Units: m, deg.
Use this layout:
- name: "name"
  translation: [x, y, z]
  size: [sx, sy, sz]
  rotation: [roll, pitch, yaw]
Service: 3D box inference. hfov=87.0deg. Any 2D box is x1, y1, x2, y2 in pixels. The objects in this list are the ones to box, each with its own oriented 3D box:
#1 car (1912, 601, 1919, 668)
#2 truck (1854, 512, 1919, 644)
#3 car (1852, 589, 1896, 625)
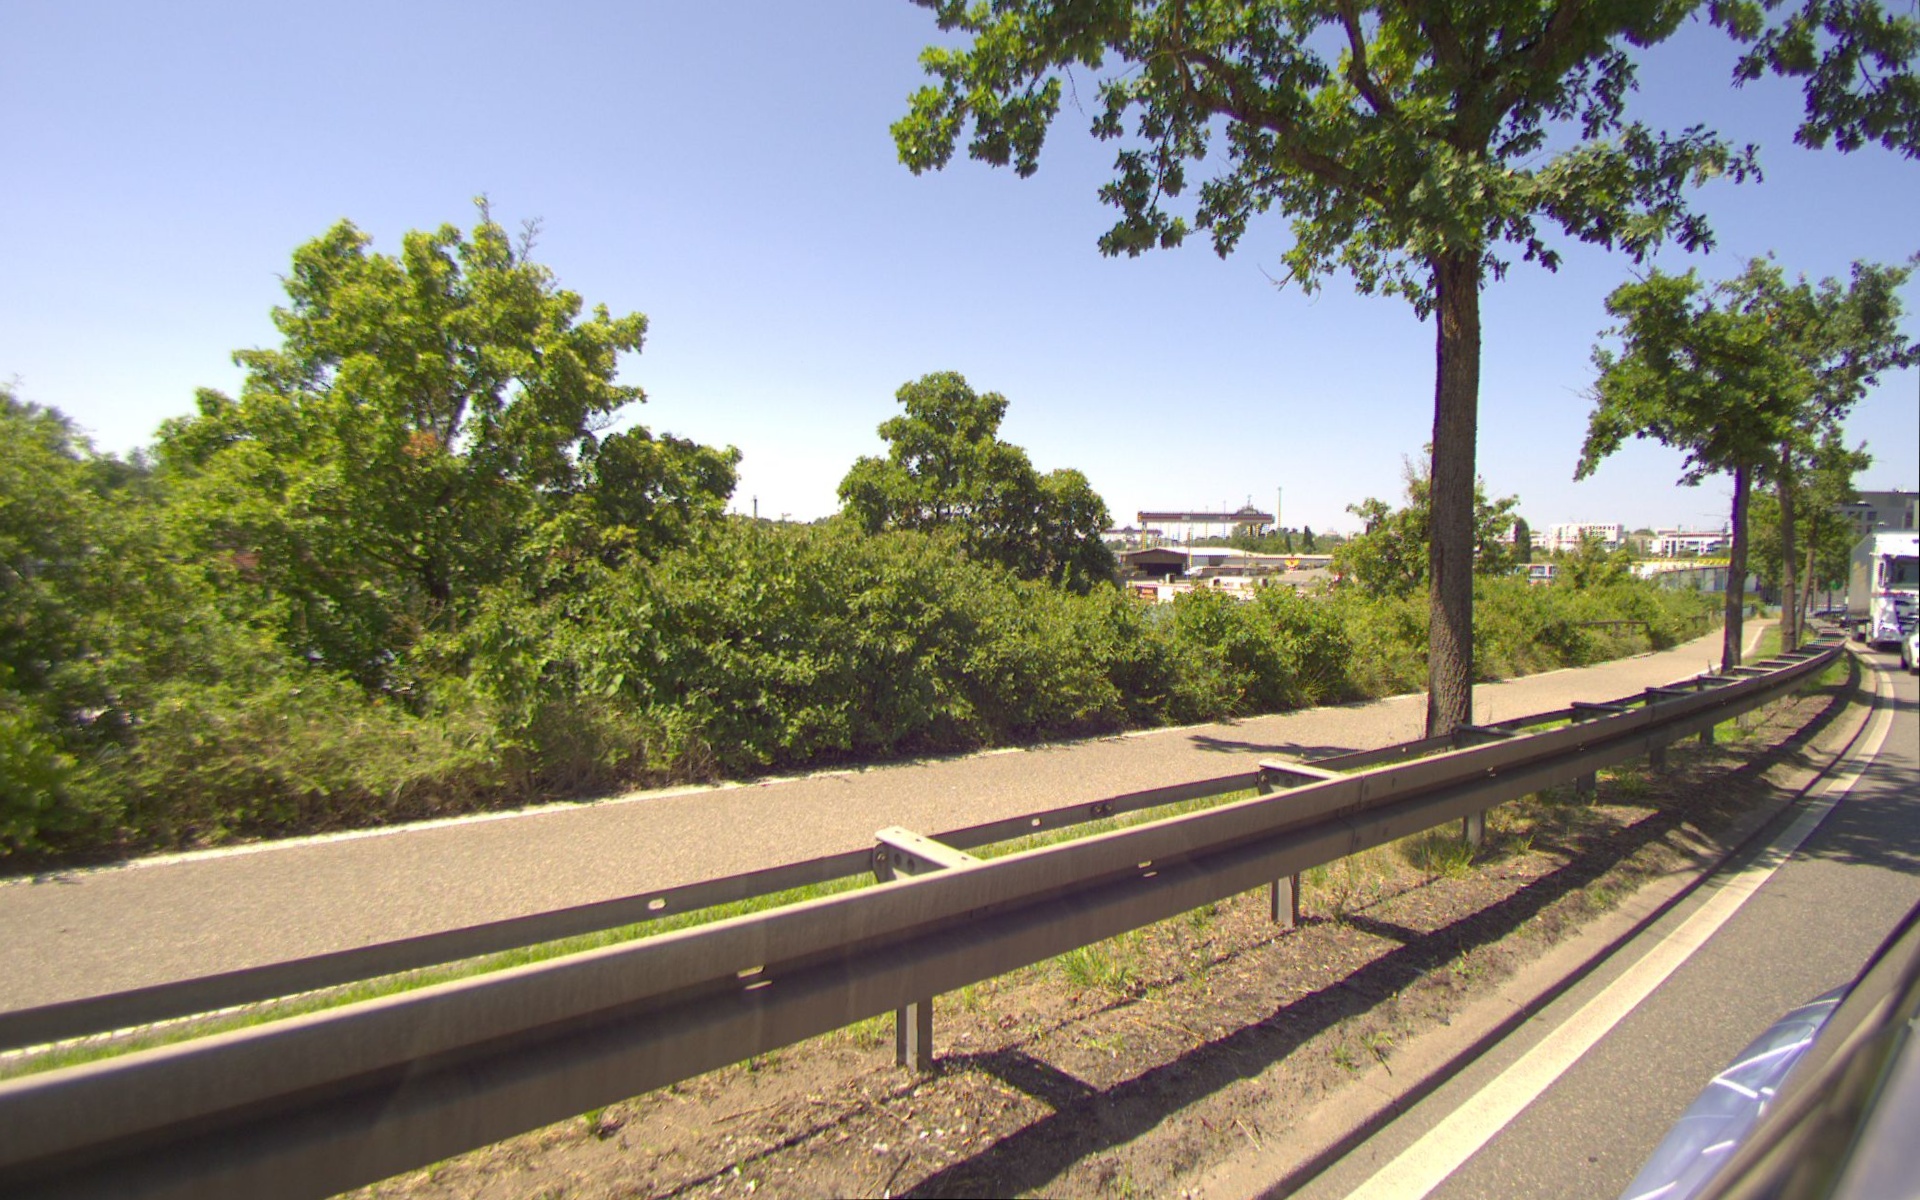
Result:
- name: "car"
  translation: [22.526, 0.743, 22.573]
  size: [1.776, 1.424, 3.935]
  rotation: [0, 0, 45]
- name: "truck"
  translation: [36.445, -0.738, 38.414]
  size: [3.057, 4.223, 16.672]
  rotation: [0, 0, 39]
- name: "car"
  translation: [53.337, 0.390, 59.118]
  size: [1.774, 2.039, 3.941]
  rotation: [0, 0, 41]
